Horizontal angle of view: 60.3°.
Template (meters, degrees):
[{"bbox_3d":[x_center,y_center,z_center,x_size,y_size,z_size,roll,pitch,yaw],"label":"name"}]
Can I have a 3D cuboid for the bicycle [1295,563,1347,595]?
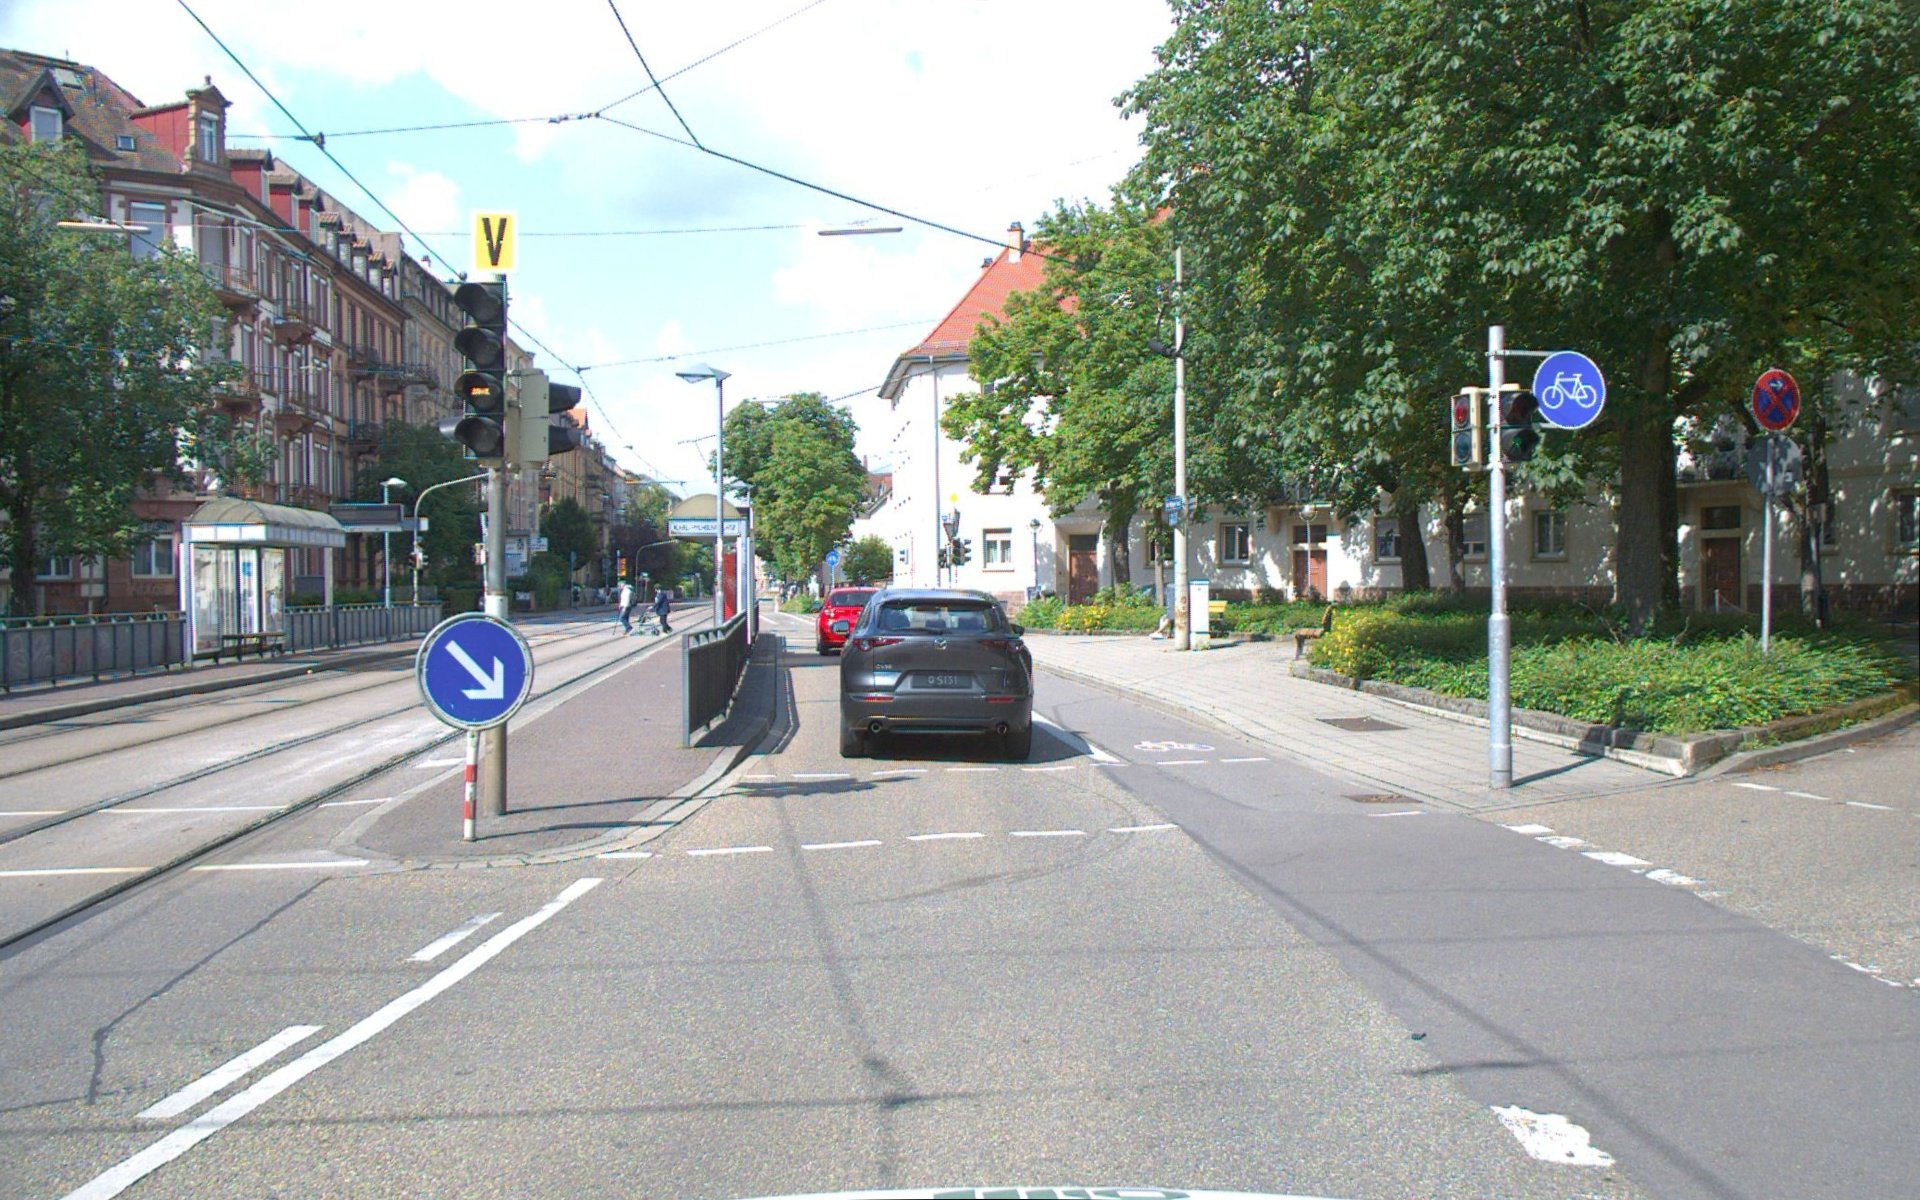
[{"bbox_3d":[12.361,-0.706,56.664,0.562,1.037,1.725,-4,2,-43],"label":"bicycle"}]

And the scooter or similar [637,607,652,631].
[{"bbox_3d":[-9.713,0.584,50.928,0.406,0.733,0.485,-1,0,-7],"label":"scooter or similar"}]

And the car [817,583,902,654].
[{"bbox_3d":[-2.306,0.379,37.035,1.741,1.489,3.838,1,1,-6],"label":"car"}]

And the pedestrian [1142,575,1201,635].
[{"bbox_3d":[4.817,0.119,37.639,1.171,1.291,0.556,-3,1,-11],"label":"pedestrian"}]

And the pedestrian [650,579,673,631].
[{"bbox_3d":[-9.185,0.154,50.952,0.655,1.573,0.580,-1,0,-7],"label":"pedestrian"}]

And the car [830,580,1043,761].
[{"bbox_3d":[-0.357,0.604,16.301,1.748,1.540,3.995,1,0,-6],"label":"car"}]

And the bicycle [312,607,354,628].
[{"bbox_3d":[-24.607,0.685,64.906,0.378,0.760,1.708,0,1,29],"label":"bicycle"}]

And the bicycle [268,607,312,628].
[{"bbox_3d":[-25.567,0.666,63.151,0.378,0.760,1.708,0,1,29],"label":"bicycle"}]

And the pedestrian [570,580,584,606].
[{"bbox_3d":[-24.967,-0.470,107.754,0.772,1.718,0.731,-1,0,-5],"label":"pedestrian"}]

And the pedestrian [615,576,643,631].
[{"bbox_3d":[-10.338,0.100,51.675,0.756,1.704,0.667,-1,0,-7],"label":"pedestrian"}]

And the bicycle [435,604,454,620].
[{"bbox_3d":[-23.566,0.534,75.638,0.377,0.688,1.710,-1,1,-2],"label":"bicycle"}]

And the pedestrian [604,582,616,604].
[{"bbox_3d":[-27.417,-0.555,129.574,0.772,1.718,0.731,-1,0,-5],"label":"pedestrian"}]
